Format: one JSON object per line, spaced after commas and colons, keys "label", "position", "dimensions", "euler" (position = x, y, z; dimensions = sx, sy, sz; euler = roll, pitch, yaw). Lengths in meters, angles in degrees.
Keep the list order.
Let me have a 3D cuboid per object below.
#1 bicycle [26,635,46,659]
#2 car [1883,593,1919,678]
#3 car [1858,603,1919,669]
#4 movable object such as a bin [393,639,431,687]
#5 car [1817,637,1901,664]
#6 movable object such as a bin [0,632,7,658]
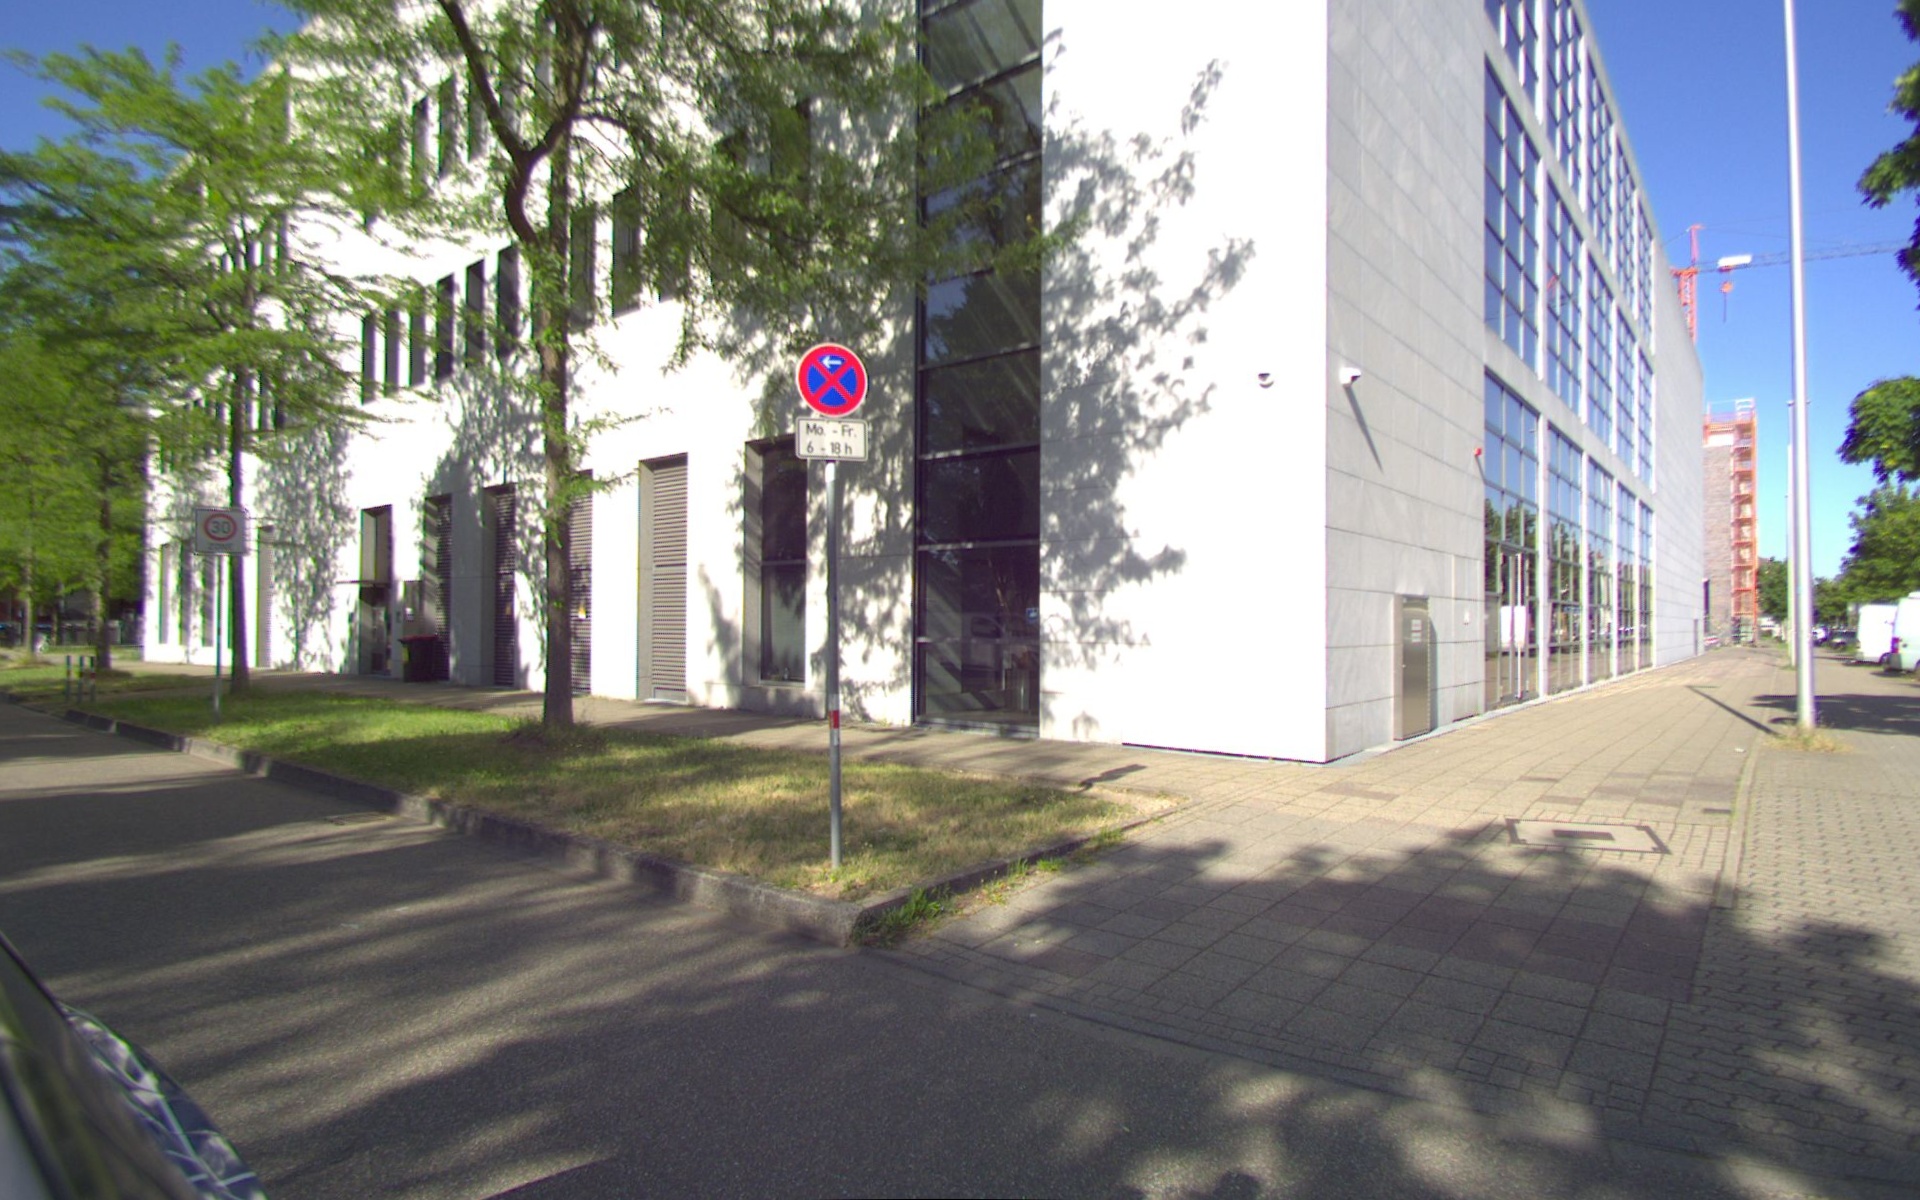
{"label": "bicycle", "position": [-49.642, 2.513, 54.353], "dimensions": [1.726, 1.201, 0.594], "euler": [-2, -1, 41]}
{"label": "car", "position": [29.747, 1.082, 28.633], "dimensions": [5.264, 2.436, 2.094], "euler": [2, 0, 41]}
{"label": "car", "position": [37.081, 1.390, 37.561], "dimensions": [5.568, 2.428, 1.960], "euler": [1, -1, 42]}
{"label": "movable object such as a bin", "position": [-12.423, 1.414, 22.935], "dimensions": [0.543, 1.048, 0.587], "euler": [-2, -1, 38]}
{"label": "car", "position": [67.356, 3.772, 75.900], "dimensions": [4.638, 1.781, 1.960], "euler": [1, -1, 42]}
{"label": "movable object such as a bin", "position": [-60.167, 2.801, 62.799], "dimensions": [1.347, 1.580, 1.502], "euler": [-2, -1, 45]}
